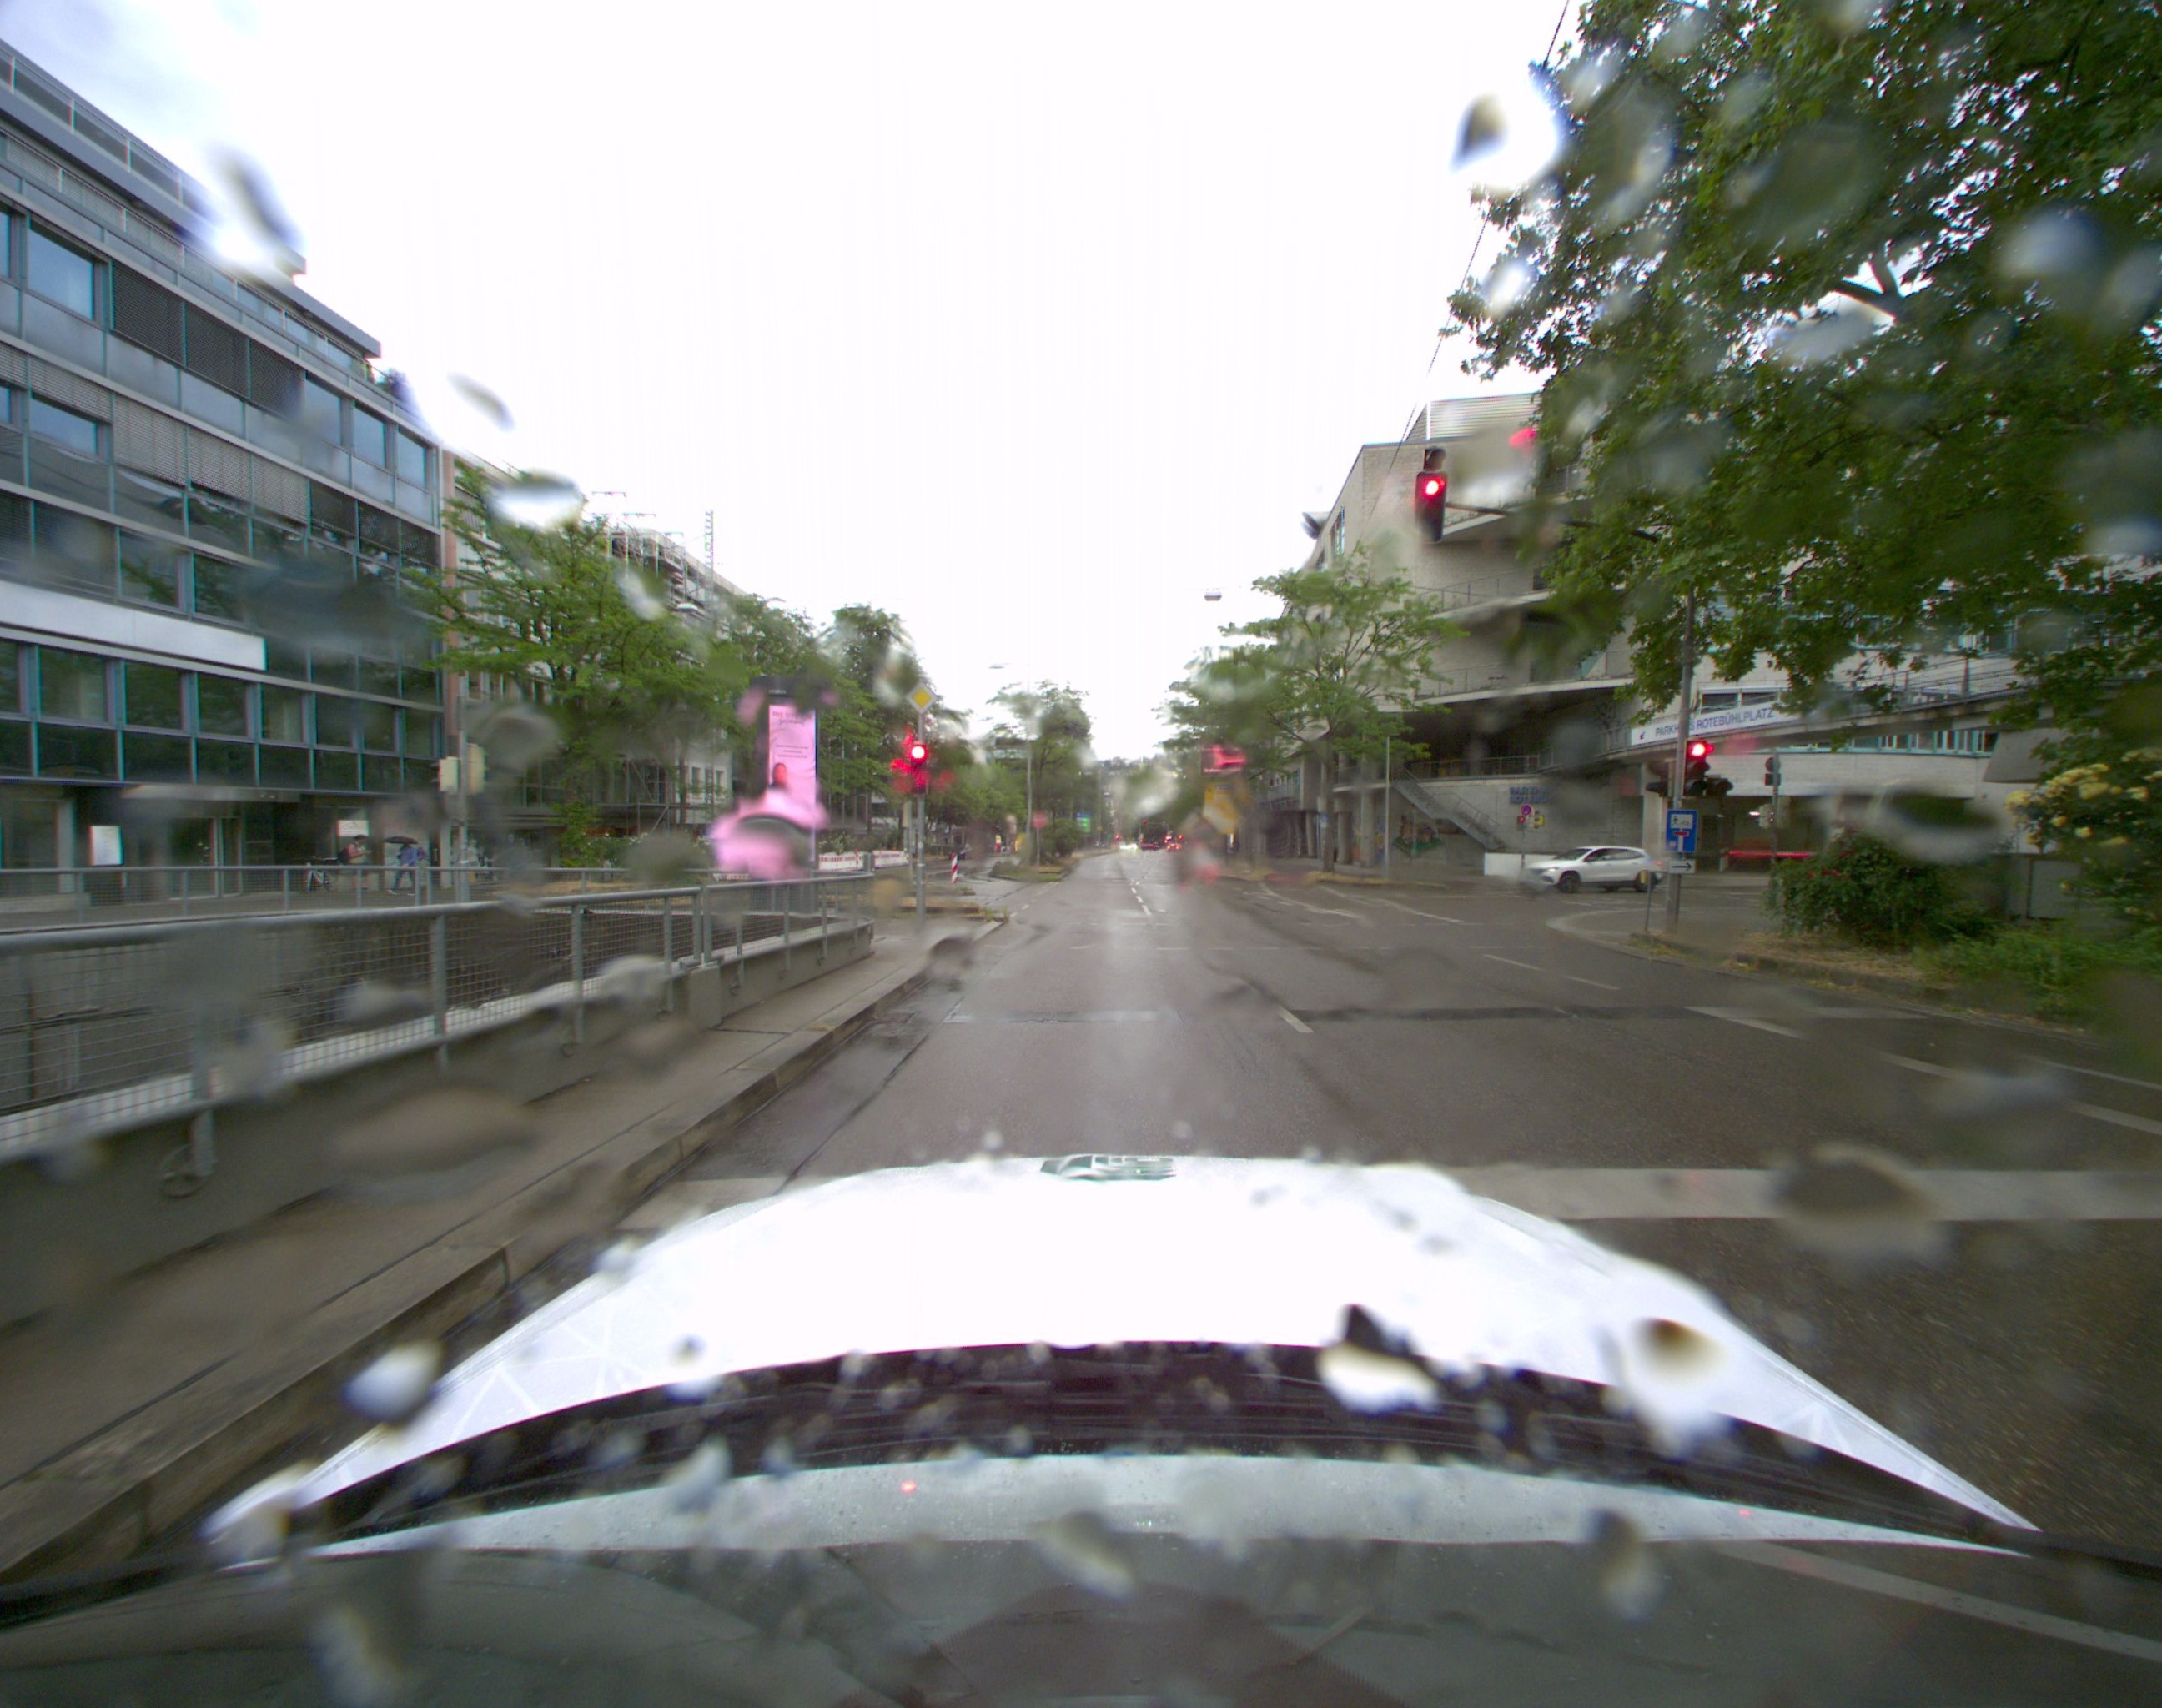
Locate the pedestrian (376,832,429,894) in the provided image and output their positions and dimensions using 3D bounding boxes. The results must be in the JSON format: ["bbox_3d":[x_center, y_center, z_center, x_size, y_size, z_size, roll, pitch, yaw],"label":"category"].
[{"bbox_3d":[-20.902,0.273,25.102,0.874,1.868,0.867,1,0,1],"label":"pedestrian"}]

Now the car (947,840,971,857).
[{"bbox_3d":[-12.582,-0.579,84.141,1.774,1.555,3.895,1,2,1],"label":"car"}]

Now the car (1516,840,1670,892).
[{"bbox_3d":[17.649,0.439,28.185,4.336,1.684,1.748,1,-4,-5],"label":"car"}]

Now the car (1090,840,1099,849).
[{"bbox_3d":[3.767,-2.619,224.676,2.118,2.164,5.204,1,0,5],"label":"car"}]

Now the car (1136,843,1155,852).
[{"bbox_3d":[14.342,-1.512,180.989,4.010,1.919,1.879,1,0,-10],"label":"car"}]

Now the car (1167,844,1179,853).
[{"bbox_3d":[15.709,-0.969,139.563,1.739,1.519,4.108,1,0,2],"label":"car"}]

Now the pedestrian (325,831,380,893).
[{"bbox_3d":[-22.697,0.237,25.387,0.857,1.868,0.964,1,0,20],"label":"pedestrian"}]

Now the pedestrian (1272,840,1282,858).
[{"bbox_3d":[17.095,-0.431,71.145,0.782,1.557,0.534,1,0,6],"label":"pedestrian"}]

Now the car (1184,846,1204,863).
[{"bbox_3d":[11.585,0.020,83.786,1.892,1.684,3.917,1,0,6],"label":"car"}]
